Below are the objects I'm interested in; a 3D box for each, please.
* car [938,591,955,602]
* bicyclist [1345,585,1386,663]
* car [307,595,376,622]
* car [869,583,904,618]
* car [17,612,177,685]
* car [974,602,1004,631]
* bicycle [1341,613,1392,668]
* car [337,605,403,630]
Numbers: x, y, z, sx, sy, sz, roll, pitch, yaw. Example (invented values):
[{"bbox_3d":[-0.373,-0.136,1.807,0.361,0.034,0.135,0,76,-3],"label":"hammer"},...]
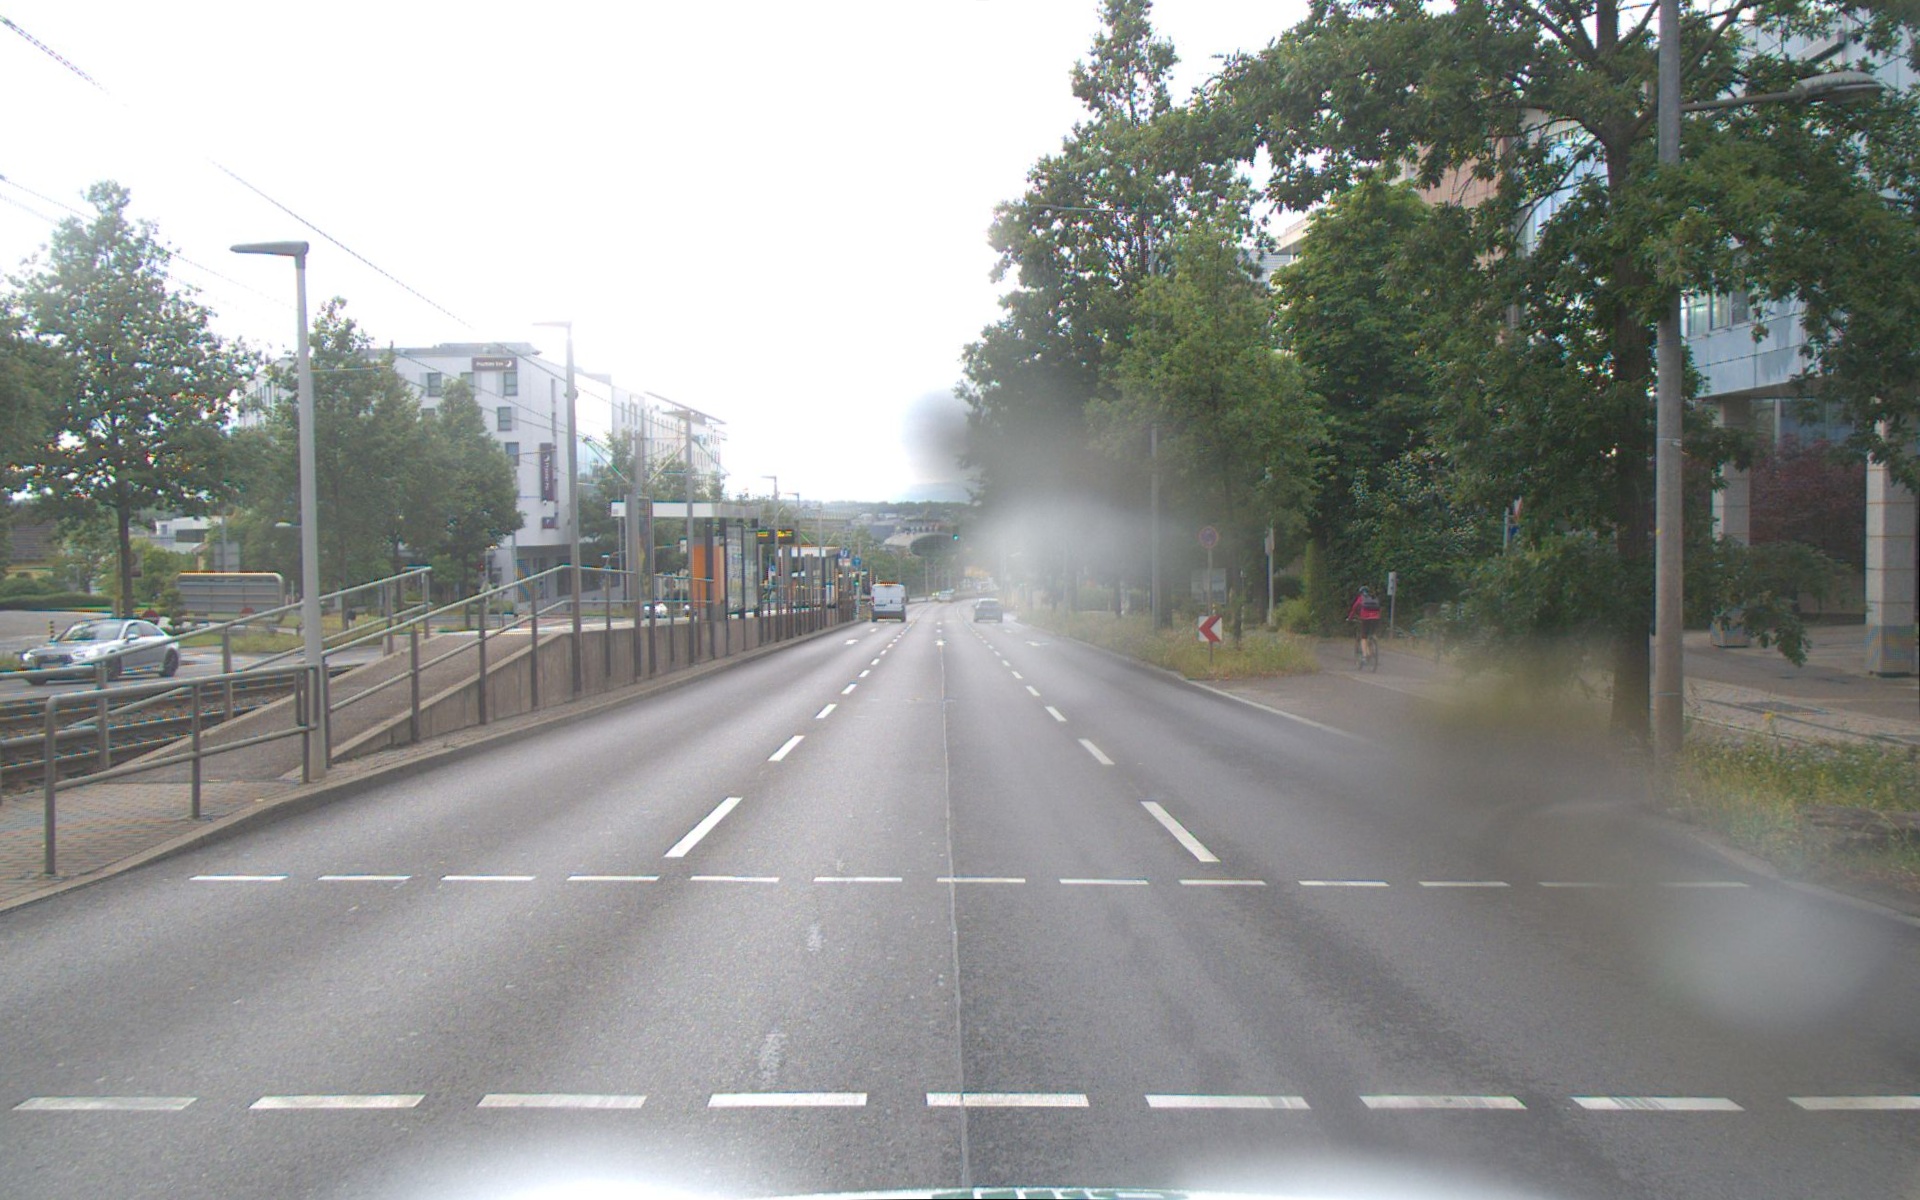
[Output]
[{"bbox_3d":[-1.739,-0.454,214.720,1.745,1.414,4.003,0,0,6],"label":"car"},{"bbox_3d":[8.575,0.504,35.011,0.633,1.606,0.854,1,0,-1],"label":"bicyclist"},{"bbox_3d":[-33.591,0.454,89.842,3.297,1.411,1.434,0,0,16],"label":"car"},{"bbox_3d":[-4.476,0.045,101.190,2.050,2.090,4.605,0,0,-1],"label":"car"},{"bbox_3d":[-19.412,1.058,37.373,1.617,1.461,3.878,-2,0,-2],"label":"car"},{"bbox_3d":[1.802,1.000,102.486,1.738,1.721,3.844,0,0,-1],"label":"car"},{"bbox_3d":[8.588,0.847,35.042,0.569,1.107,1.905,1,0,-1],"label":"bicycle"},{"bbox_3d":[-33.348,0.979,93.567,3.297,1.411,1.434,0,0,16],"label":"car"}]
